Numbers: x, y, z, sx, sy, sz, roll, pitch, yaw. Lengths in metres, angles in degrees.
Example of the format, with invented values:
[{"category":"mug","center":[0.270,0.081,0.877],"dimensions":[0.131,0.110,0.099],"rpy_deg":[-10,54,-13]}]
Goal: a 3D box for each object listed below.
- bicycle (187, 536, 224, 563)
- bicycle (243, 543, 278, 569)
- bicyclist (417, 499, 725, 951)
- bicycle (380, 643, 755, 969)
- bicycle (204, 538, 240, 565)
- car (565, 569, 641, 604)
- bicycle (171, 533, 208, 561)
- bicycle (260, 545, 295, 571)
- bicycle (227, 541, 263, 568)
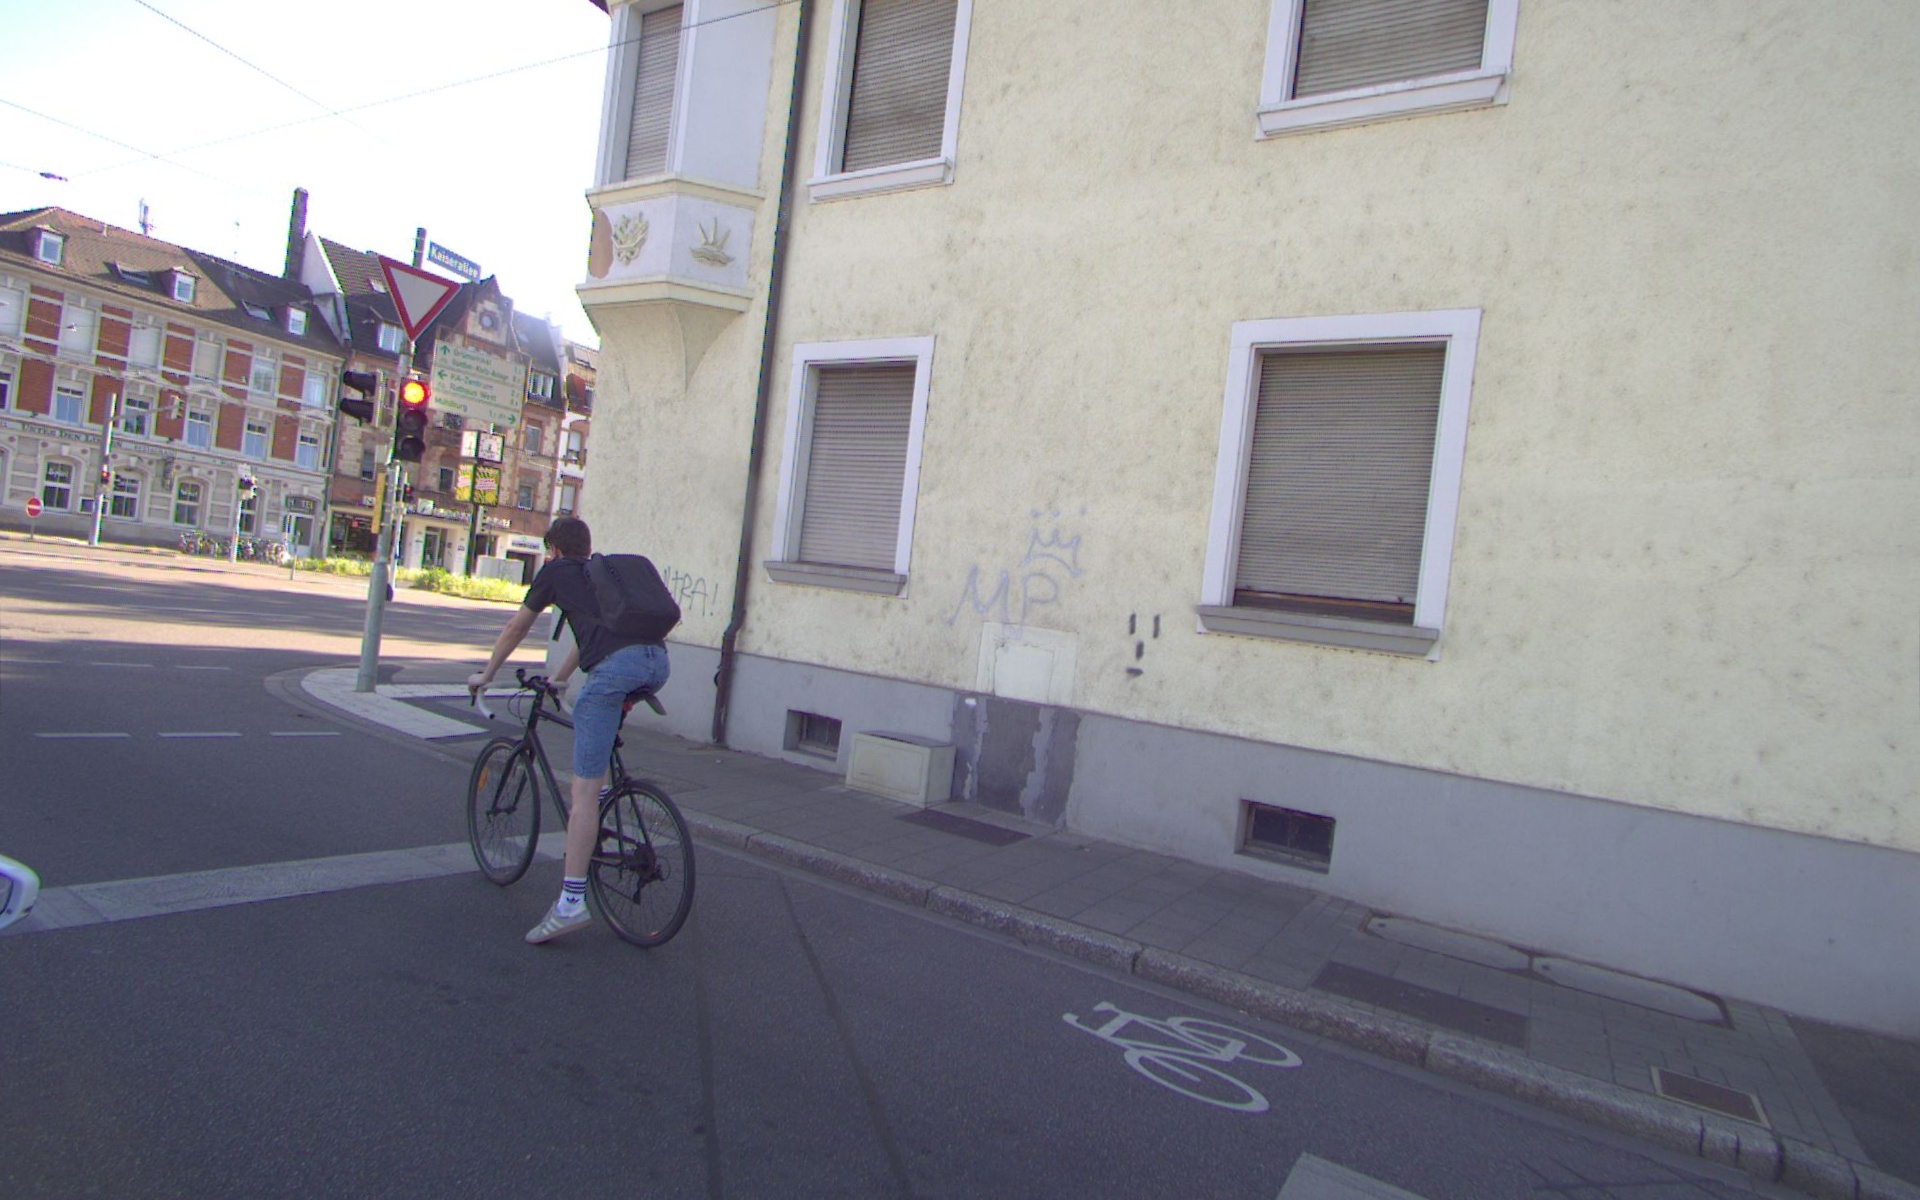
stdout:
[{"category":"bicycle","center":[-34.644,-2.330,46.189],"dimensions":[1.614,1.064,0.606],"rpy_deg":[7,0,27]},{"category":"bicycle","center":[-33.353,-2.089,47.945],"dimensions":[1.614,1.064,0.606],"rpy_deg":[7,0,27]},{"category":"bicyclist","center":[-1.738,0.489,4.483],"dimensions":[1.066,1.751,0.561],"rpy_deg":[6,-1,32]},{"category":"bicycle","center":[-1.793,0.822,4.487],"dimensions":[1.729,1.029,0.532],"rpy_deg":[7,0,32]},{"category":"bicycle","center":[-34.313,-2.263,46.765],"dimensions":[1.614,1.064,0.606],"rpy_deg":[7,0,27]},{"category":"car","center":[-23.120,-0.863,65.303],"dimensions":[1.966,1.674,4.378],"rpy_deg":[7,-1,29]},{"category":"bicycle","center":[-34.943,-2.393,45.607],"dimensions":[1.614,1.064,0.606],"rpy_deg":[7,0,27]},{"category":"bicycle","center":[-32.979,-2.015,48.583],"dimensions":[1.614,1.064,0.606],"rpy_deg":[7,0,27]},{"category":"bicycle","center":[-33.647,-2.153,47.335],"dimensions":[1.614,1.064,0.606],"rpy_deg":[7,0,27]}]
